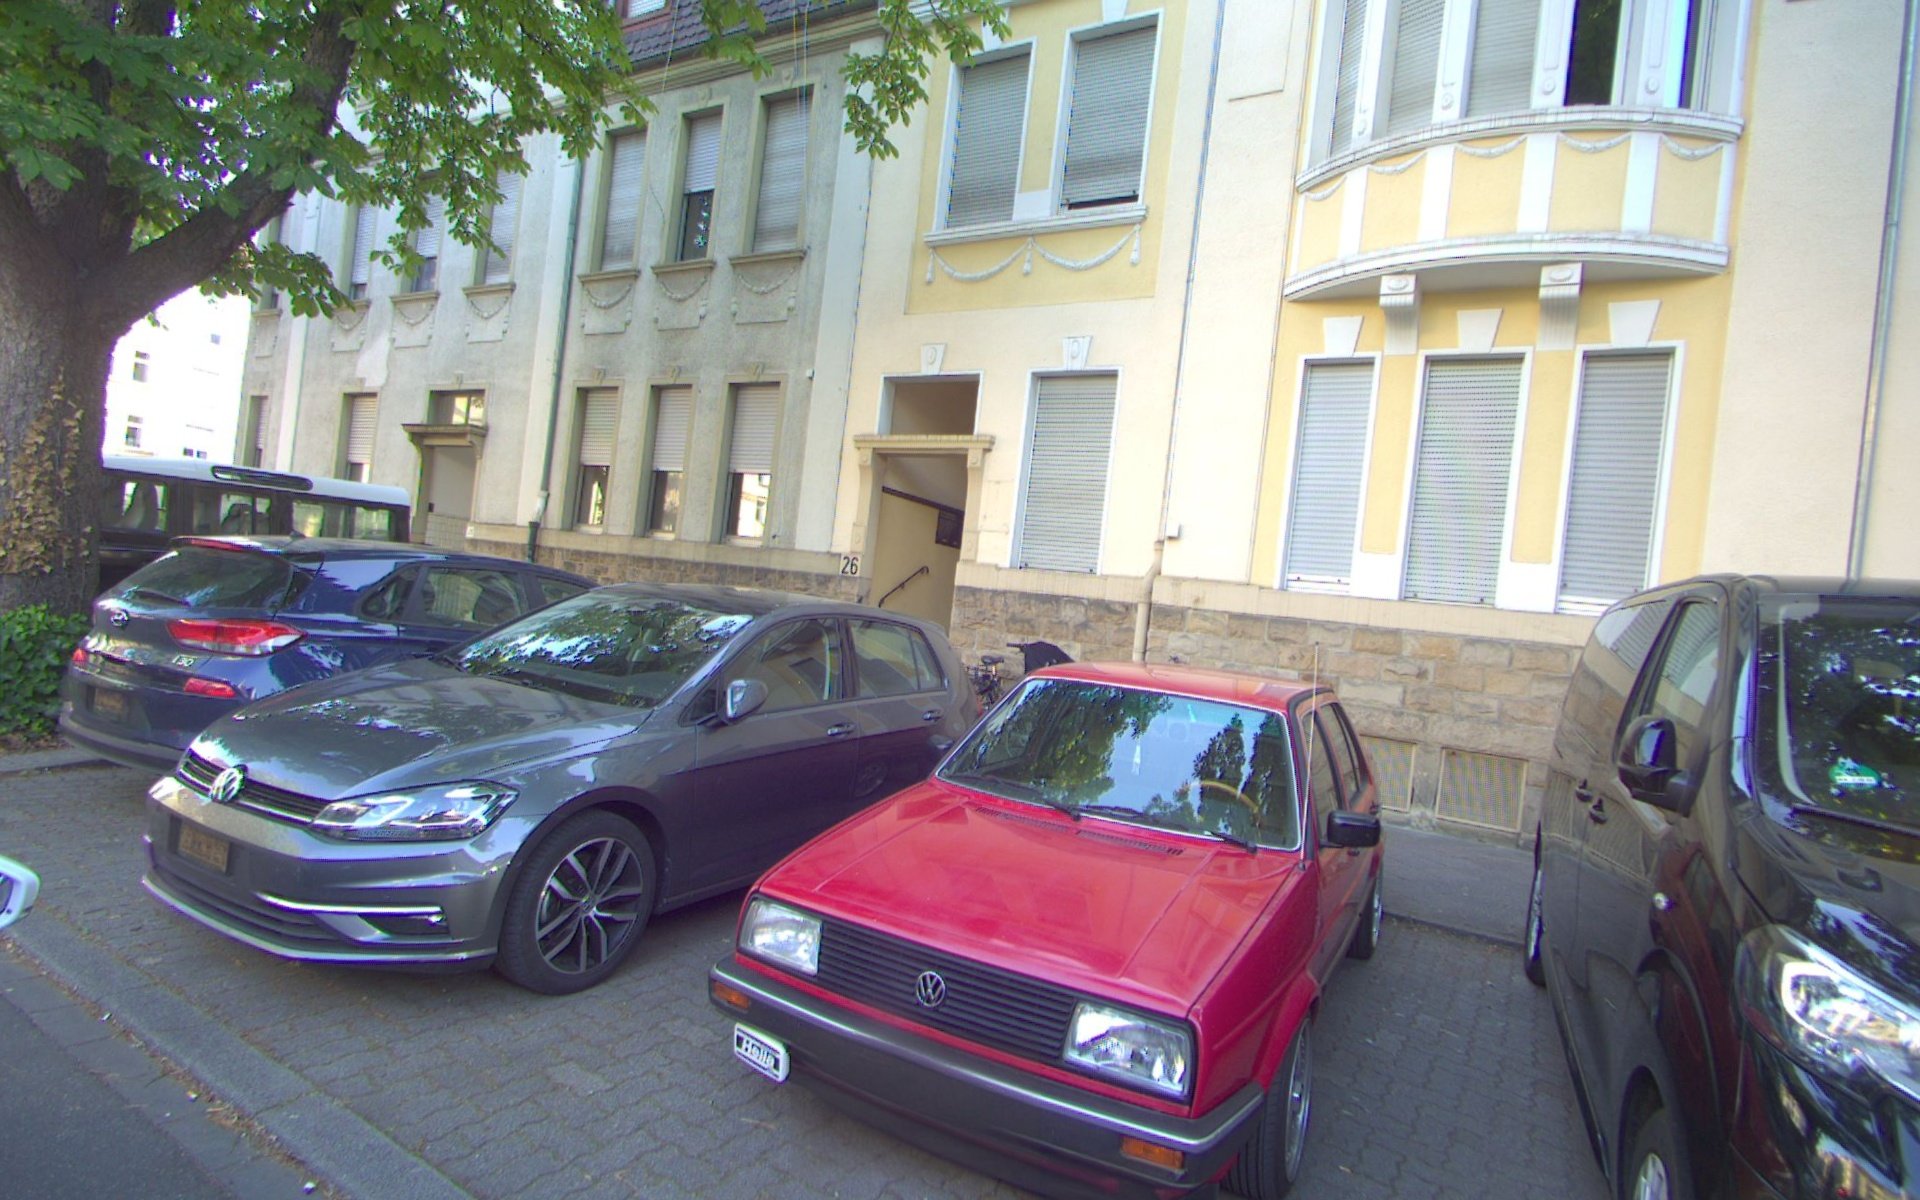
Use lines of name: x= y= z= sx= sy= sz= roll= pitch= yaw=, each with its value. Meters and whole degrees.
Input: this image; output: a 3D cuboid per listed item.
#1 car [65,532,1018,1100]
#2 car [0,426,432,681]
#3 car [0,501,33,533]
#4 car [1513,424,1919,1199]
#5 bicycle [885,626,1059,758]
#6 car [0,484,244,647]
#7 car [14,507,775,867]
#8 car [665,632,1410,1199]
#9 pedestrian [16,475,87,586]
car: x=-1.367 y=0.648 z=4.846 sx=1.600 sy=1.440 sz=4.054 roll=6 pitch=0 yaw=29
car: x=-7.623 y=-0.383 z=9.319 sx=1.762 sy=1.981 sz=4.496 roll=7 pitch=1 yaw=29
car: x=-36.616 y=-3.271 z=37.030 sx=1.357 sy=1.081 sz=3.370 roll=7 pitch=-1 yaw=30
car: x=2.876 y=0.898 z=2.953 sx=1.848 sy=1.847 sz=4.829 roll=6 pitch=0 yaw=27
bicycle: x=0.104 y=0.907 z=10.323 sx=1.675 sy=1.090 sz=0.500 roll=7 pitch=2 yaw=31
car: x=-10.124 y=-0.407 z=10.821 sx=1.680 sy=1.606 sz=3.488 roll=7 pitch=0 yaw=25
car: x=-3.026 y=0.417 z=6.216 sx=1.600 sy=1.440 sz=3.754 roll=6 pitch=0 yaw=29
car: x=0.815 y=0.913 z=4.199 sx=1.532 sy=1.337 sz=3.916 roll=6 pitch=0 yaw=29
pedestrian: x=-16.166 y=-1.230 z=17.900 sx=0.565 sy=1.867 sz=0.633 roll=7 pitch=0 yaw=28
